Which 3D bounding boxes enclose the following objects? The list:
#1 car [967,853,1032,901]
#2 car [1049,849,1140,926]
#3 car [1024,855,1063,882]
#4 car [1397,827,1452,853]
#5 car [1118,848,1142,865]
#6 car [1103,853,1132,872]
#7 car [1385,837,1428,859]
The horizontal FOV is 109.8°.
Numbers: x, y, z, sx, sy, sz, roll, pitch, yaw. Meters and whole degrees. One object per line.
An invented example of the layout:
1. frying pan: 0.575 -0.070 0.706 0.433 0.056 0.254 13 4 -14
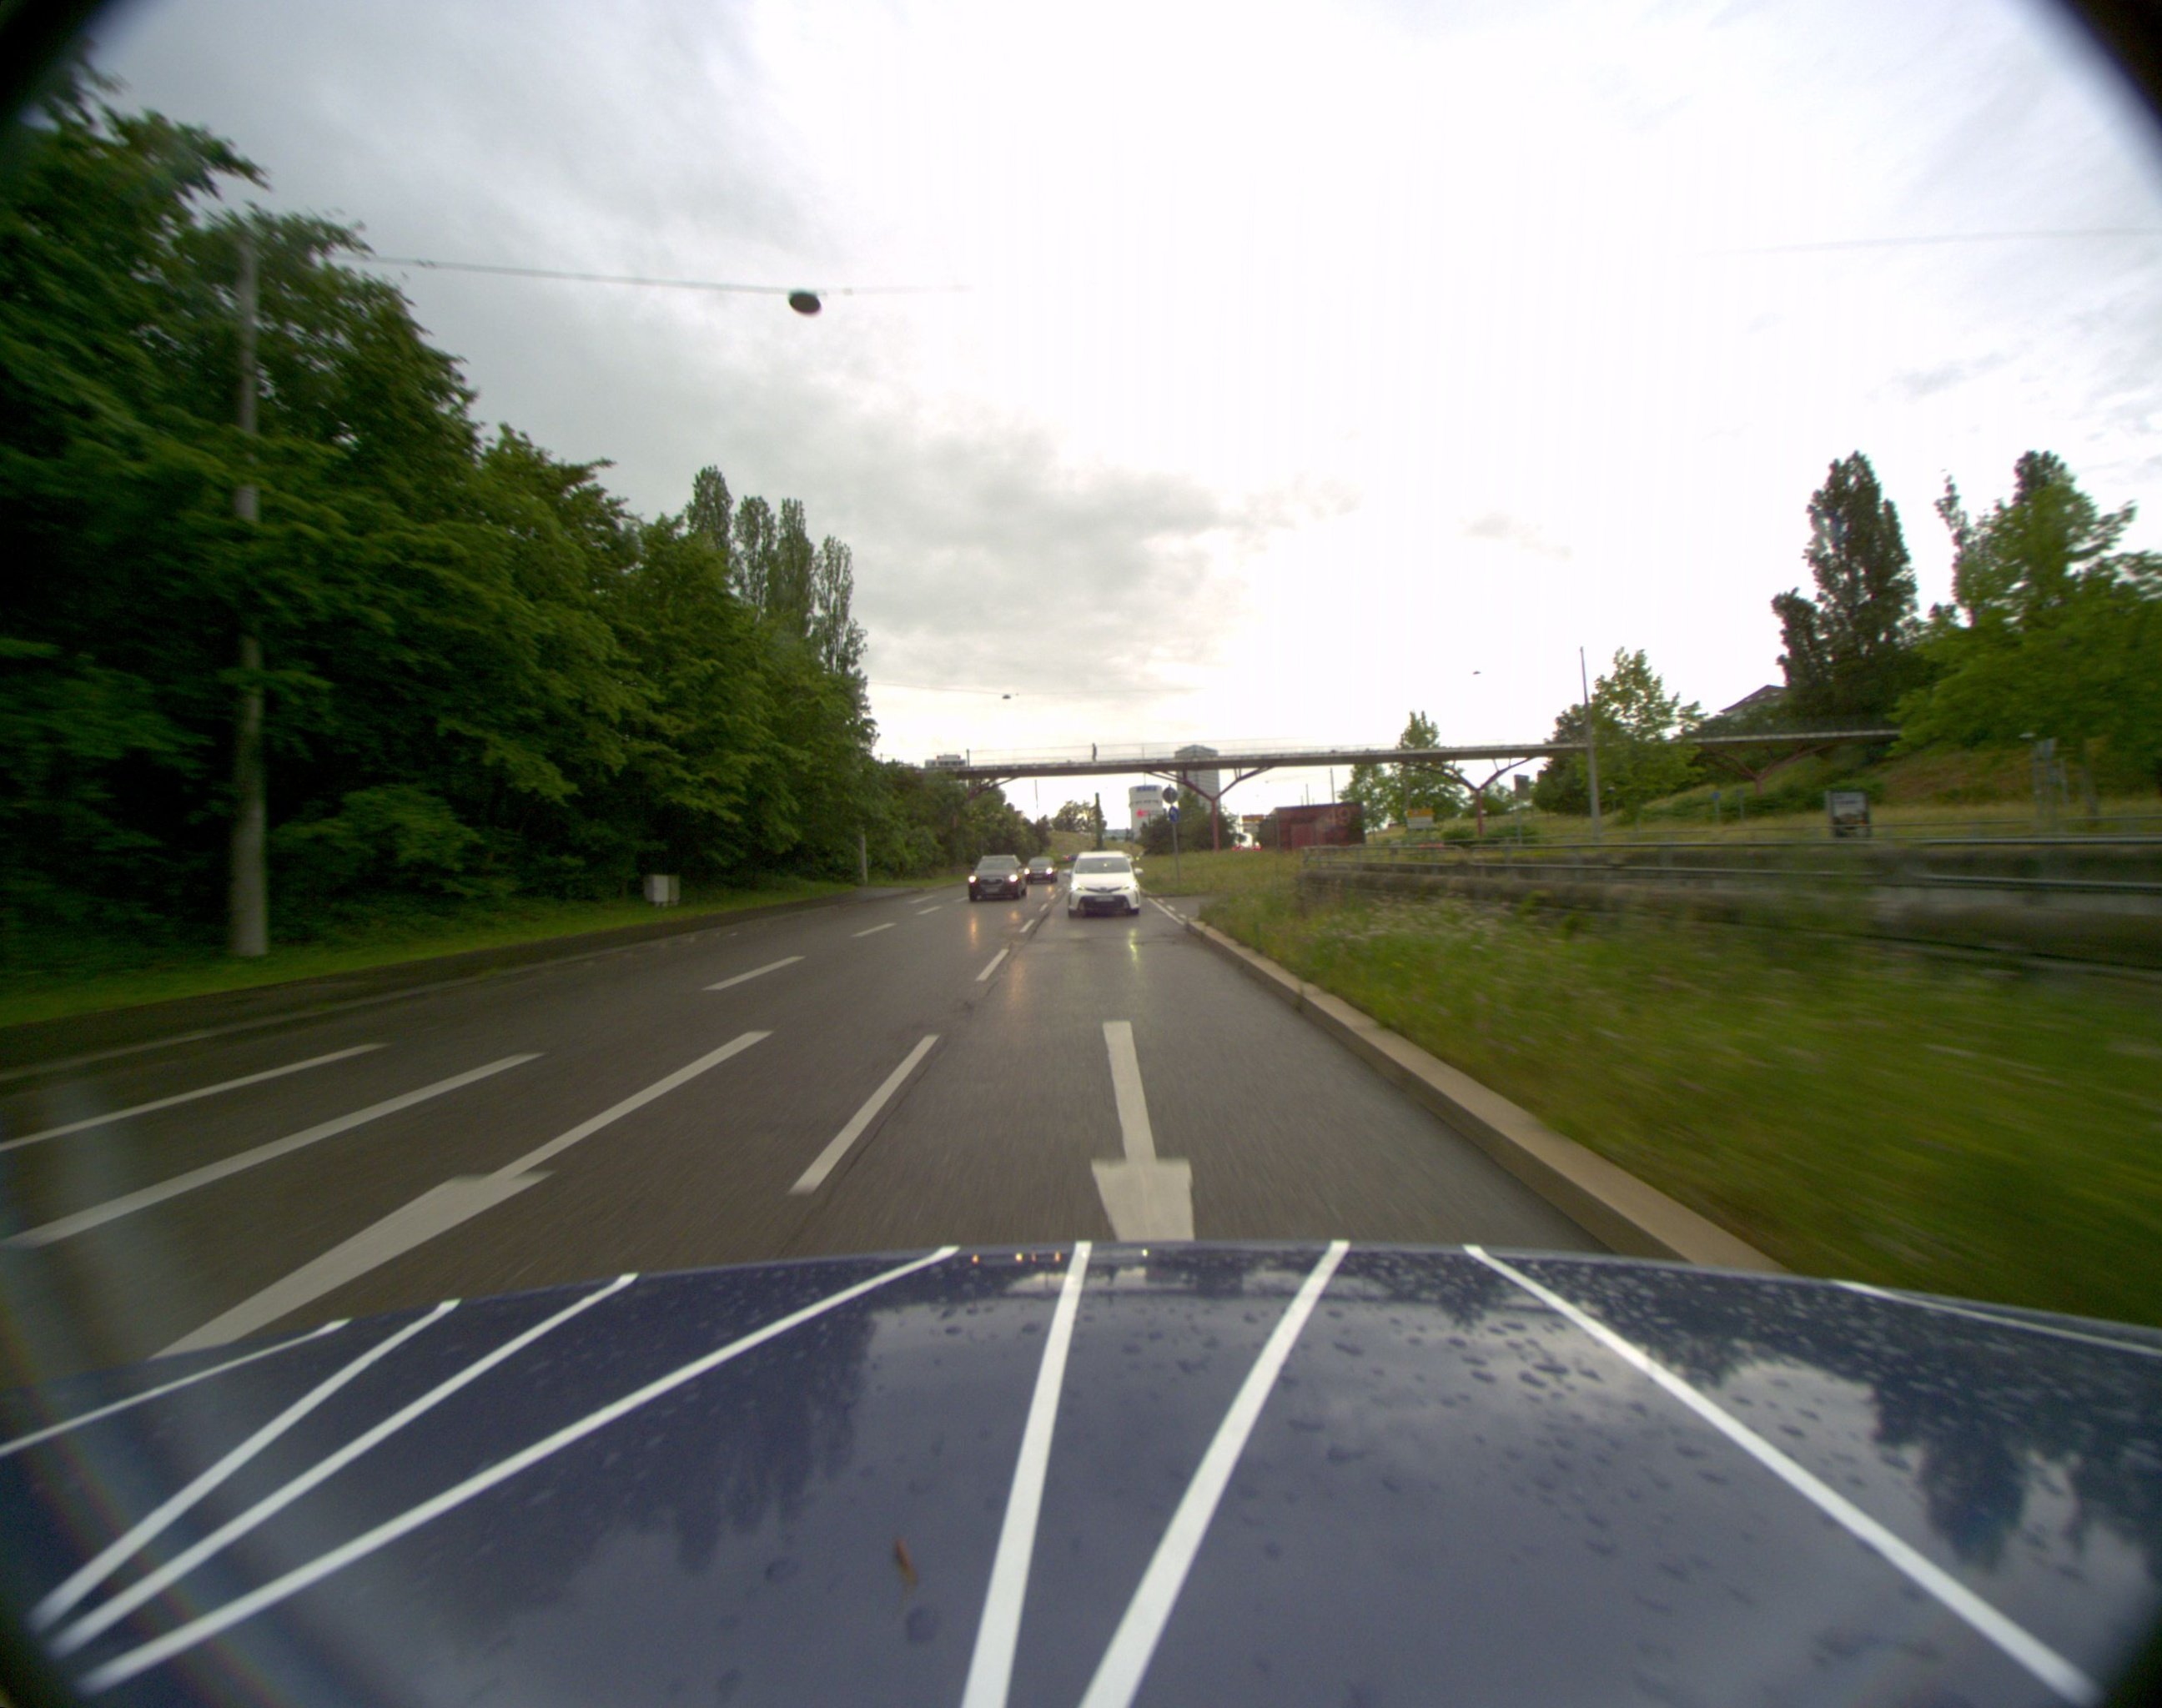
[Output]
1. car: -2.939 0.790 28.250 1.927 1.591 4.278 -1 1 0
2. car: 0.461 0.733 18.916 1.924 1.604 4.376 -3 0 4
3. car: -2.124 0.812 44.210 1.845 1.377 4.000 -3 0 2
4. car: 22.665 -0.885 50.364 1.660 1.519 4.435 -4 0 2
5. car: 5.741 0.275 88.534 1.996 1.762 4.004 -2 1 16
6. car: 3.836 0.845 78.675 1.996 1.762 4.004 -4 1 16
7. car: 26.411 -0.458 61.763 1.661 1.565 3.790 -6 1 -2
